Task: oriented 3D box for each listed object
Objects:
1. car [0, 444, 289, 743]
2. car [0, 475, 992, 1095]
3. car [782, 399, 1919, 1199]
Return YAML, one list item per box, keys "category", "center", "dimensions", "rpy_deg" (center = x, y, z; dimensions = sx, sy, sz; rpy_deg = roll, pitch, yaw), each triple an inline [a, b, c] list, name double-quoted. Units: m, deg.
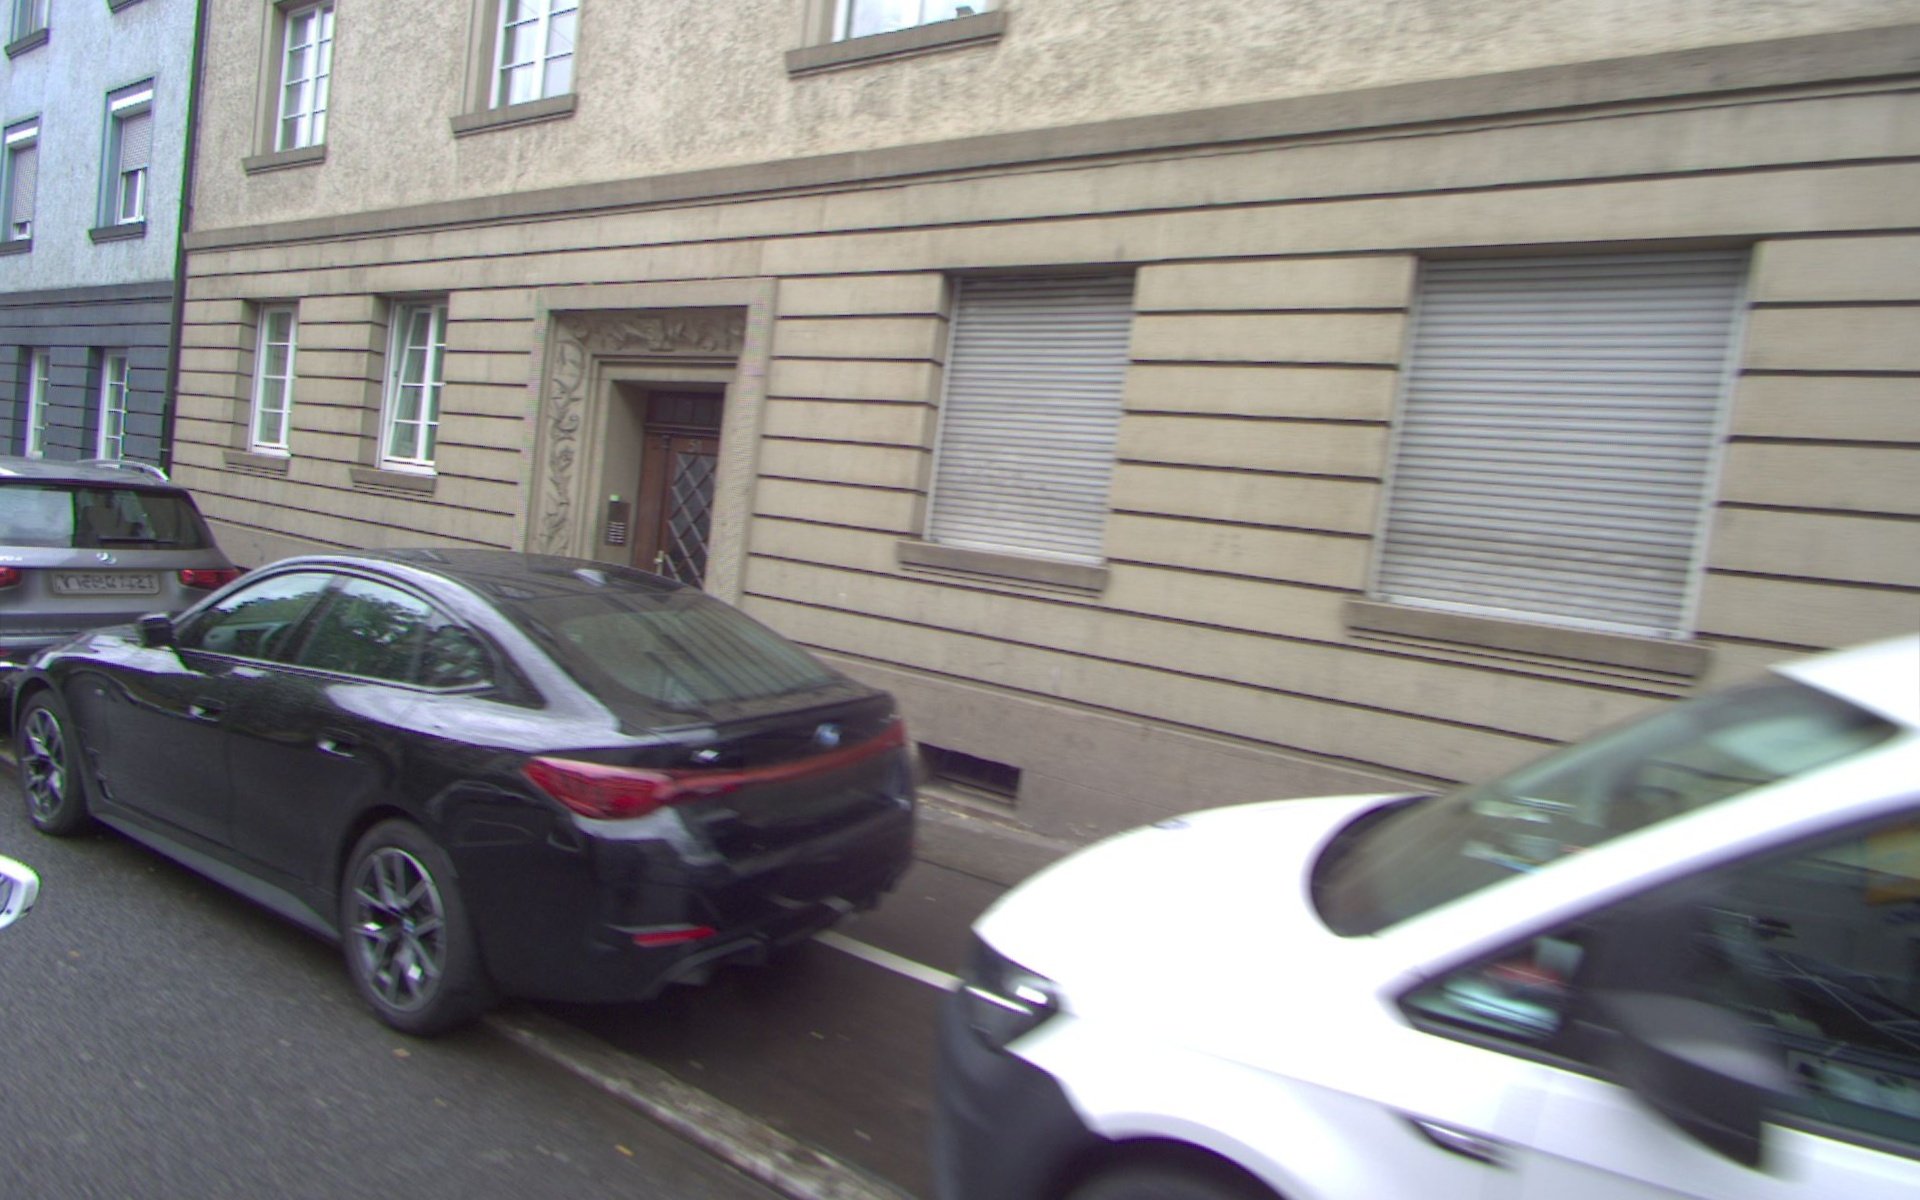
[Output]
- category: "car"
  center: [-6.770, -0.215, 6.990]
  dimensions: [4.137, 1.643, 1.841]
  rpy_deg: [7, 2, 30]
- category: "car"
  center: [-2.237, 0.358, 4.449]
  dimensions: [4.314, 1.428, 1.841]
  rpy_deg: [7, 3, 30]
- category: "car"
  center: [1.849, 0.735, 1.850]
  dimensions: [4.011, 1.842, 1.791]
  rpy_deg: [7, 3, 31]
